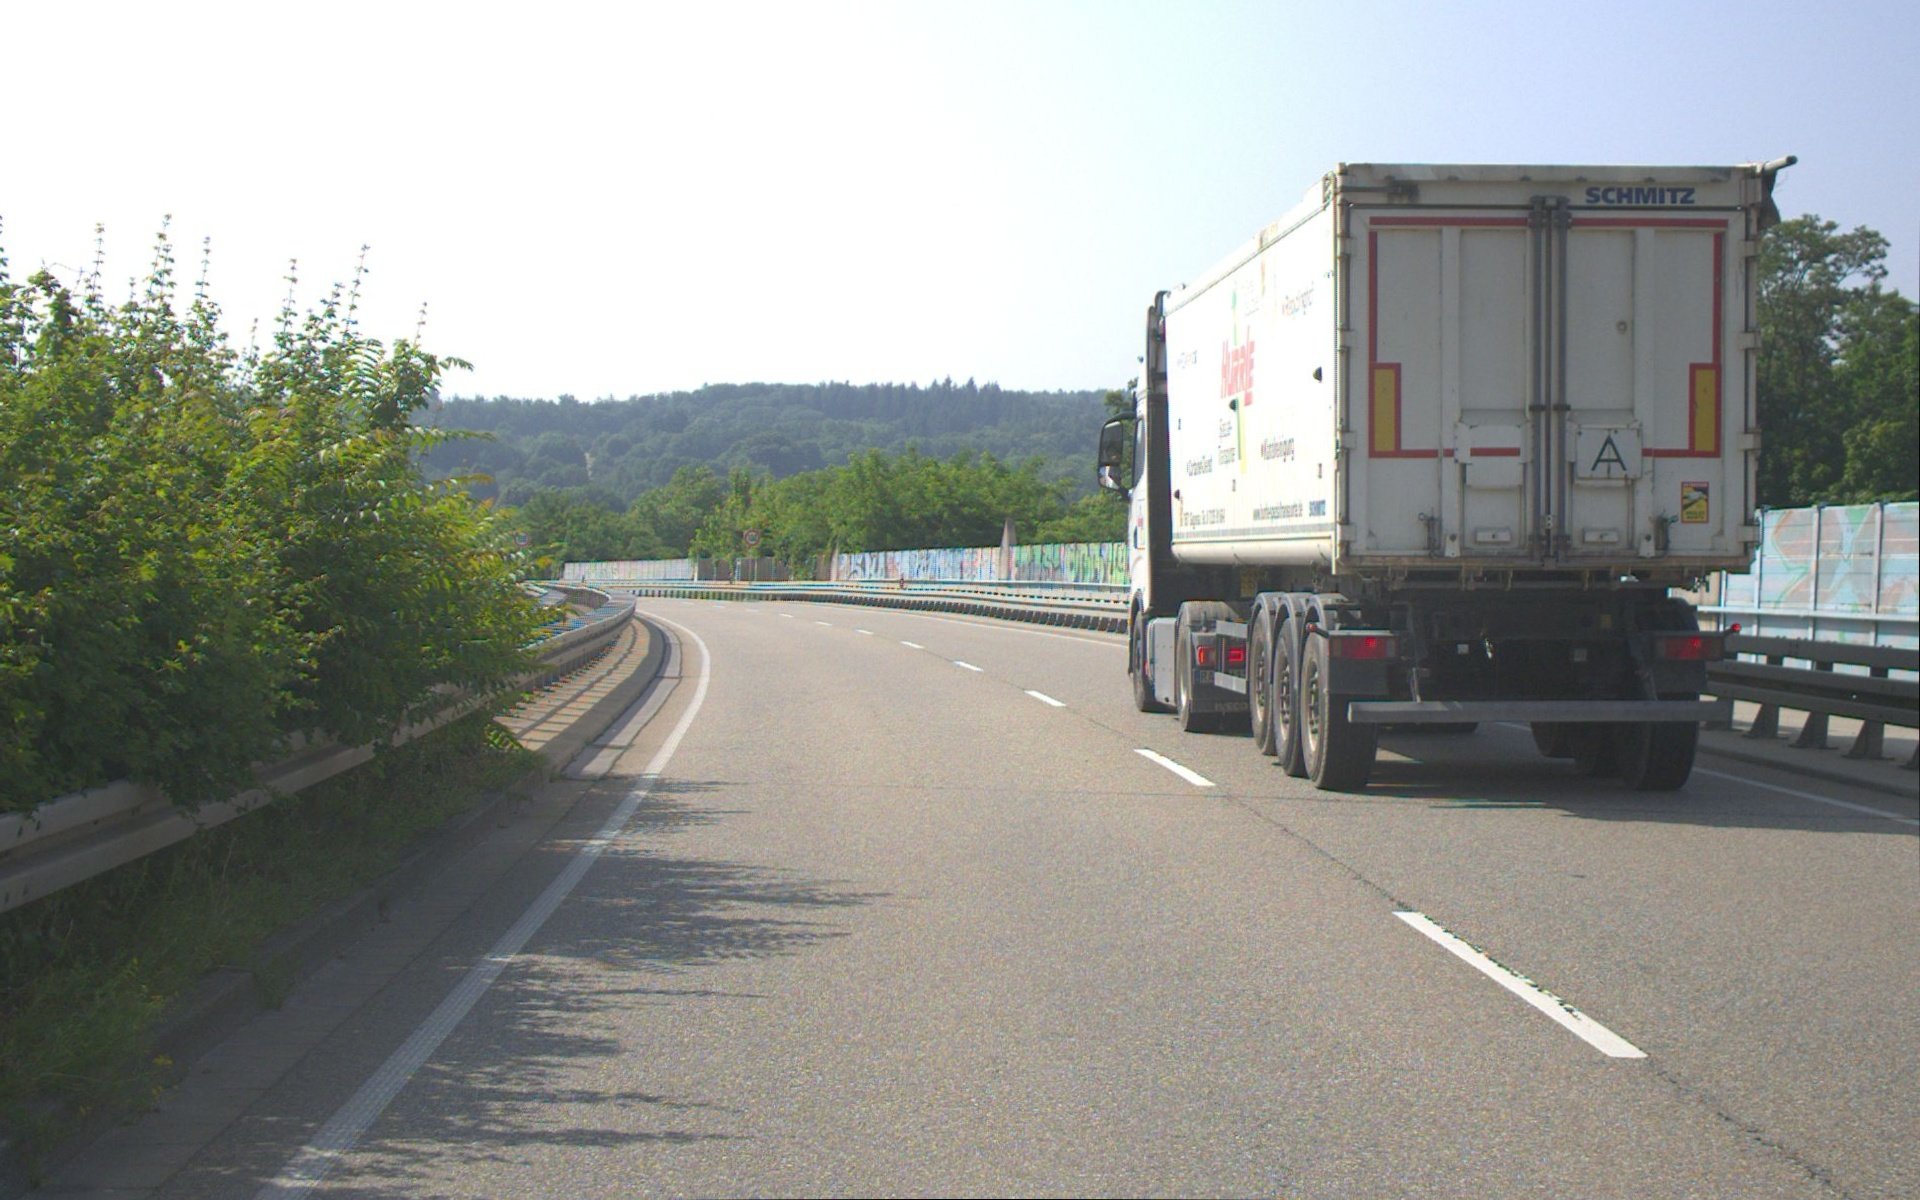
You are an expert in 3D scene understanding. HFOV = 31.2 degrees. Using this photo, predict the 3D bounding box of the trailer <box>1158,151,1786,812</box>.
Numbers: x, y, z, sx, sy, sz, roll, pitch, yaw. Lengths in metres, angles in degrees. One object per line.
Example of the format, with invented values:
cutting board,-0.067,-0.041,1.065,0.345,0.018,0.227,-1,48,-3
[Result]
trailer,3.308,-0.787,25.155,2.679,3.893,9.674,0,1,-3

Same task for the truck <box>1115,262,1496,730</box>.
truck,3.009,-0.927,31.465,2.658,3.882,5.649,0,1,-2
